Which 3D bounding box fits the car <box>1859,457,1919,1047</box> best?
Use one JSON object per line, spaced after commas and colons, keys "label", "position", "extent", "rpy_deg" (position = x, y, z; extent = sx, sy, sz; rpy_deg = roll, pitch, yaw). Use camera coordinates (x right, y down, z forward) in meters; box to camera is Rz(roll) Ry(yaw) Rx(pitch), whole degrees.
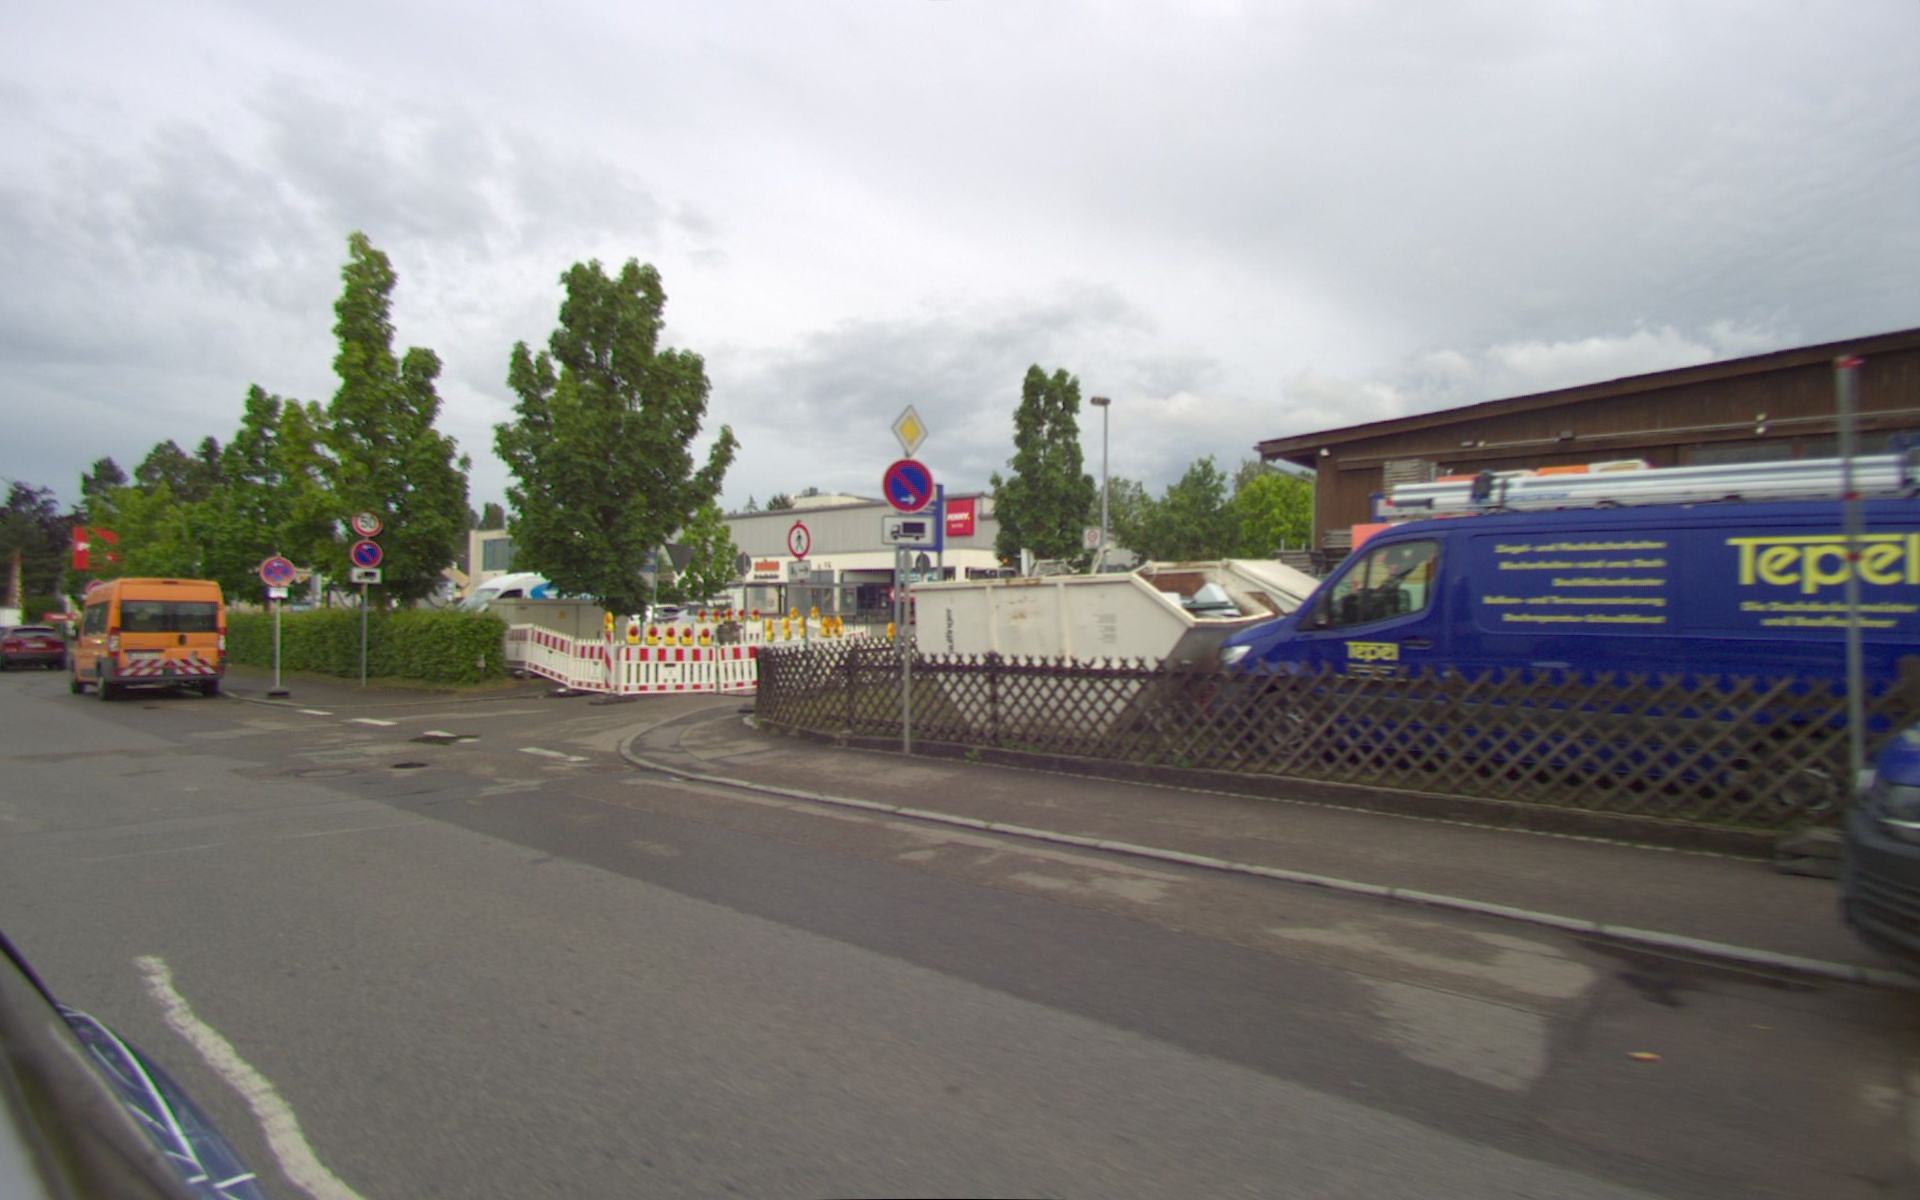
{"label": "car", "position": [5.789, 0.471, 2.418], "extent": [5.362, 1.962, 1.973], "rpy_deg": [-1, 0, 41]}

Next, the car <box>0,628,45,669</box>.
{"label": "car", "position": [-36.992, 1.872, 39.211], "extent": [4.134, 1.510, 1.754], "rpy_deg": [-2, -2, 41]}

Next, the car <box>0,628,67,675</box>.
{"label": "car", "position": [-33.385, 1.797, 36.042], "extent": [4.339, 1.585, 1.787], "rpy_deg": [-2, -2, 41]}

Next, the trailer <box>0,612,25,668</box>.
{"label": "trailer", "position": [-41.892, 1.696, 43.560], "extent": [4.727, 2.332, 1.794], "rpy_deg": [-1, -4, 41]}

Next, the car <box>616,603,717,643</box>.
{"label": "car", "position": [-12.330, 0.938, 42.637], "extent": [1.691, 1.531, 3.855], "rpy_deg": [-1, 0, 36]}

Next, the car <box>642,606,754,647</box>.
{"label": "car", "position": [-10.543, 1.029, 40.893], "extent": [1.918, 1.489, 4.010], "rpy_deg": [-1, 0, 43]}

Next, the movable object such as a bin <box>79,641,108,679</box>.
{"label": "movable object such as a bin", "position": [-28.250, 1.943, 32.985], "extent": [0.664, 1.166, 0.622], "rpy_deg": [-1, 0, -45]}

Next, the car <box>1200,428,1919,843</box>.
{"label": "car", "position": [5.281, 0.226, 8.317], "extent": [6.200, 2.586, 2.053], "rpy_deg": [-1, 0, 42]}

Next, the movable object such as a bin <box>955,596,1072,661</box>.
{"label": "movable object such as a bin", "position": [1.641, 0.793, 30.129], "extent": [1.995, 1.773, 3.393], "rpy_deg": [-1, 0, 35]}

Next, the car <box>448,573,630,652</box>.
{"label": "car", "position": [-11.798, 0.308, 28.557], "extent": [2.062, 2.029, 4.261], "rpy_deg": [-1, 0, 41]}

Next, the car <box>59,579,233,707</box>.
{"label": "car", "position": [-18.636, 0.931, 23.050], "extent": [6.019, 2.557, 2.102], "rpy_deg": [-2, -1, 41]}

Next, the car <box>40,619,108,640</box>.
{"label": "car", "position": [-88.214, 2.900, 100.784], "extent": [2.000, 1.871, 4.944], "rpy_deg": [-1, 0, 43]}

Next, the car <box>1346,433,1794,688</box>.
{"label": "car", "position": [8.588, -0.461, 14.603], "extent": [5.242, 3.036, 2.054], "rpy_deg": [-1, 0, 42]}
